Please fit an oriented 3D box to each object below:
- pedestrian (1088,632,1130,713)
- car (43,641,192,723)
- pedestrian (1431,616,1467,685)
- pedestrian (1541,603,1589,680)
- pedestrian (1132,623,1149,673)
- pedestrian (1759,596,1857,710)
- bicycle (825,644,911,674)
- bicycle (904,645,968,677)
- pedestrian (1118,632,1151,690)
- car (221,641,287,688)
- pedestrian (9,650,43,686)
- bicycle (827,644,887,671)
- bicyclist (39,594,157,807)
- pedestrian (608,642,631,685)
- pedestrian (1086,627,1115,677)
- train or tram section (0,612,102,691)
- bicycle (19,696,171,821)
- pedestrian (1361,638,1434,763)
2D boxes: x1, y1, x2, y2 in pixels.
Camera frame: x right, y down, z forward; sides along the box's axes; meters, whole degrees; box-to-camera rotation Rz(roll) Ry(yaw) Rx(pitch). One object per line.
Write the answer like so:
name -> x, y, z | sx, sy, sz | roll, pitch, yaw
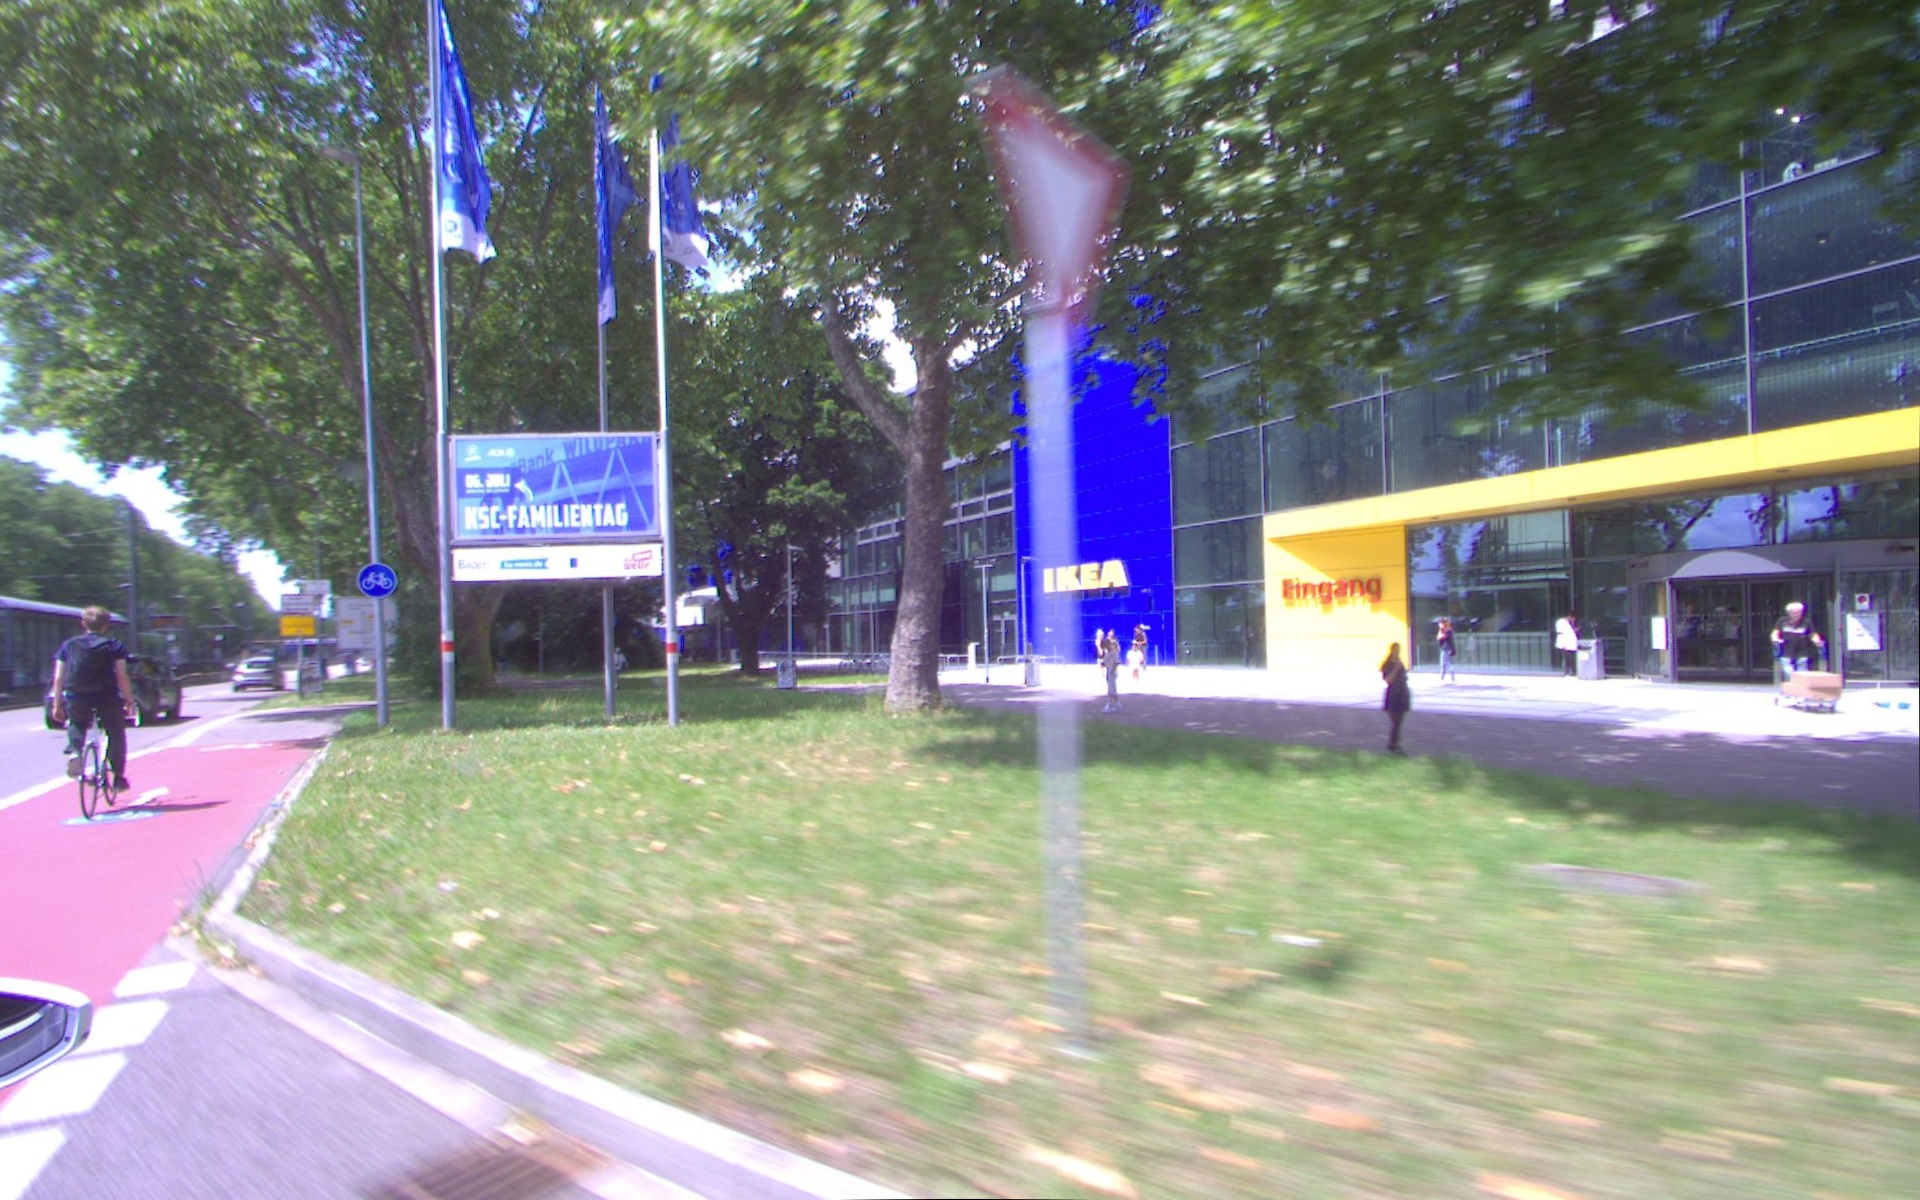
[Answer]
pedestrian -> 3.393, 1.632, 22.797 | 0.656, 1.794, 0.666 | 0, -2, -27
car -> -19.624, 1.881, 23.534 | 1.877, 1.695, 4.500 | 0, -3, -30
pedestrian -> 12.320, 1.262, 25.204 | 0.694, 1.685, 0.800 | -2, 0, 32
pedestrian -> 15.375, 1.043, 25.451 | 0.607, 1.910, 0.780 | -1, -1, -19
pedestrian -> 6.280, 1.680, 34.850 | 0.534, 1.723, 0.421 | 0, -1, 9
pedestrian -> 14.664, 0.904, 17.345 | 0.956, 1.910, 0.887 | 0, -1, 12
bicycle -> -4.112, 2.624, 44.895 | 3.764, 1.191, 0.987 | -2, -1, -4
bicycle -> -0.972, 2.467, 40.925 | 2.484, 1.191, 0.692 | -1, -1, -22
pedestrian -> 5.024, 1.748, 28.856 | 0.583, 1.636, 0.663 | -1, -3, -32
car -> -32.792, 2.929, 46.603 | 1.970, 2.014, 4.344 | 0, -2, -28
pedestrian -> -31.910, 2.315, 34.218 | 0.685, 1.205, 0.639 | 1, -2, -29
bicycle -> -4.799, 2.687, 46.867 | 2.724, 1.136, 0.897 | -2, -1, -5
bicyclist -> -8.049, 0.912, 9.390 | 0.602, 1.869, 0.920 | 1, -2, -28
pedestrian -> -13.934, 2.592, 40.999 | 0.766, 1.717, 0.887 | 0, -2, -29
pedestrian -> 4.856, 1.793, 34.582 | 0.772, 1.685, 0.886 | -1, -1, 21
train or tram section -> -43.901, 2.458, 47.089 | 3.004, 3.226, 14.032 | 0, -3, -31
bicycle -> -8.107, 1.434, 9.479 | 0.613, 1.011, 2.016 | 1, -4, -28
pedestrian -> 6.276, 1.413, 14.369 | 0.708, 1.686, 0.591 | -4, 2, -24
